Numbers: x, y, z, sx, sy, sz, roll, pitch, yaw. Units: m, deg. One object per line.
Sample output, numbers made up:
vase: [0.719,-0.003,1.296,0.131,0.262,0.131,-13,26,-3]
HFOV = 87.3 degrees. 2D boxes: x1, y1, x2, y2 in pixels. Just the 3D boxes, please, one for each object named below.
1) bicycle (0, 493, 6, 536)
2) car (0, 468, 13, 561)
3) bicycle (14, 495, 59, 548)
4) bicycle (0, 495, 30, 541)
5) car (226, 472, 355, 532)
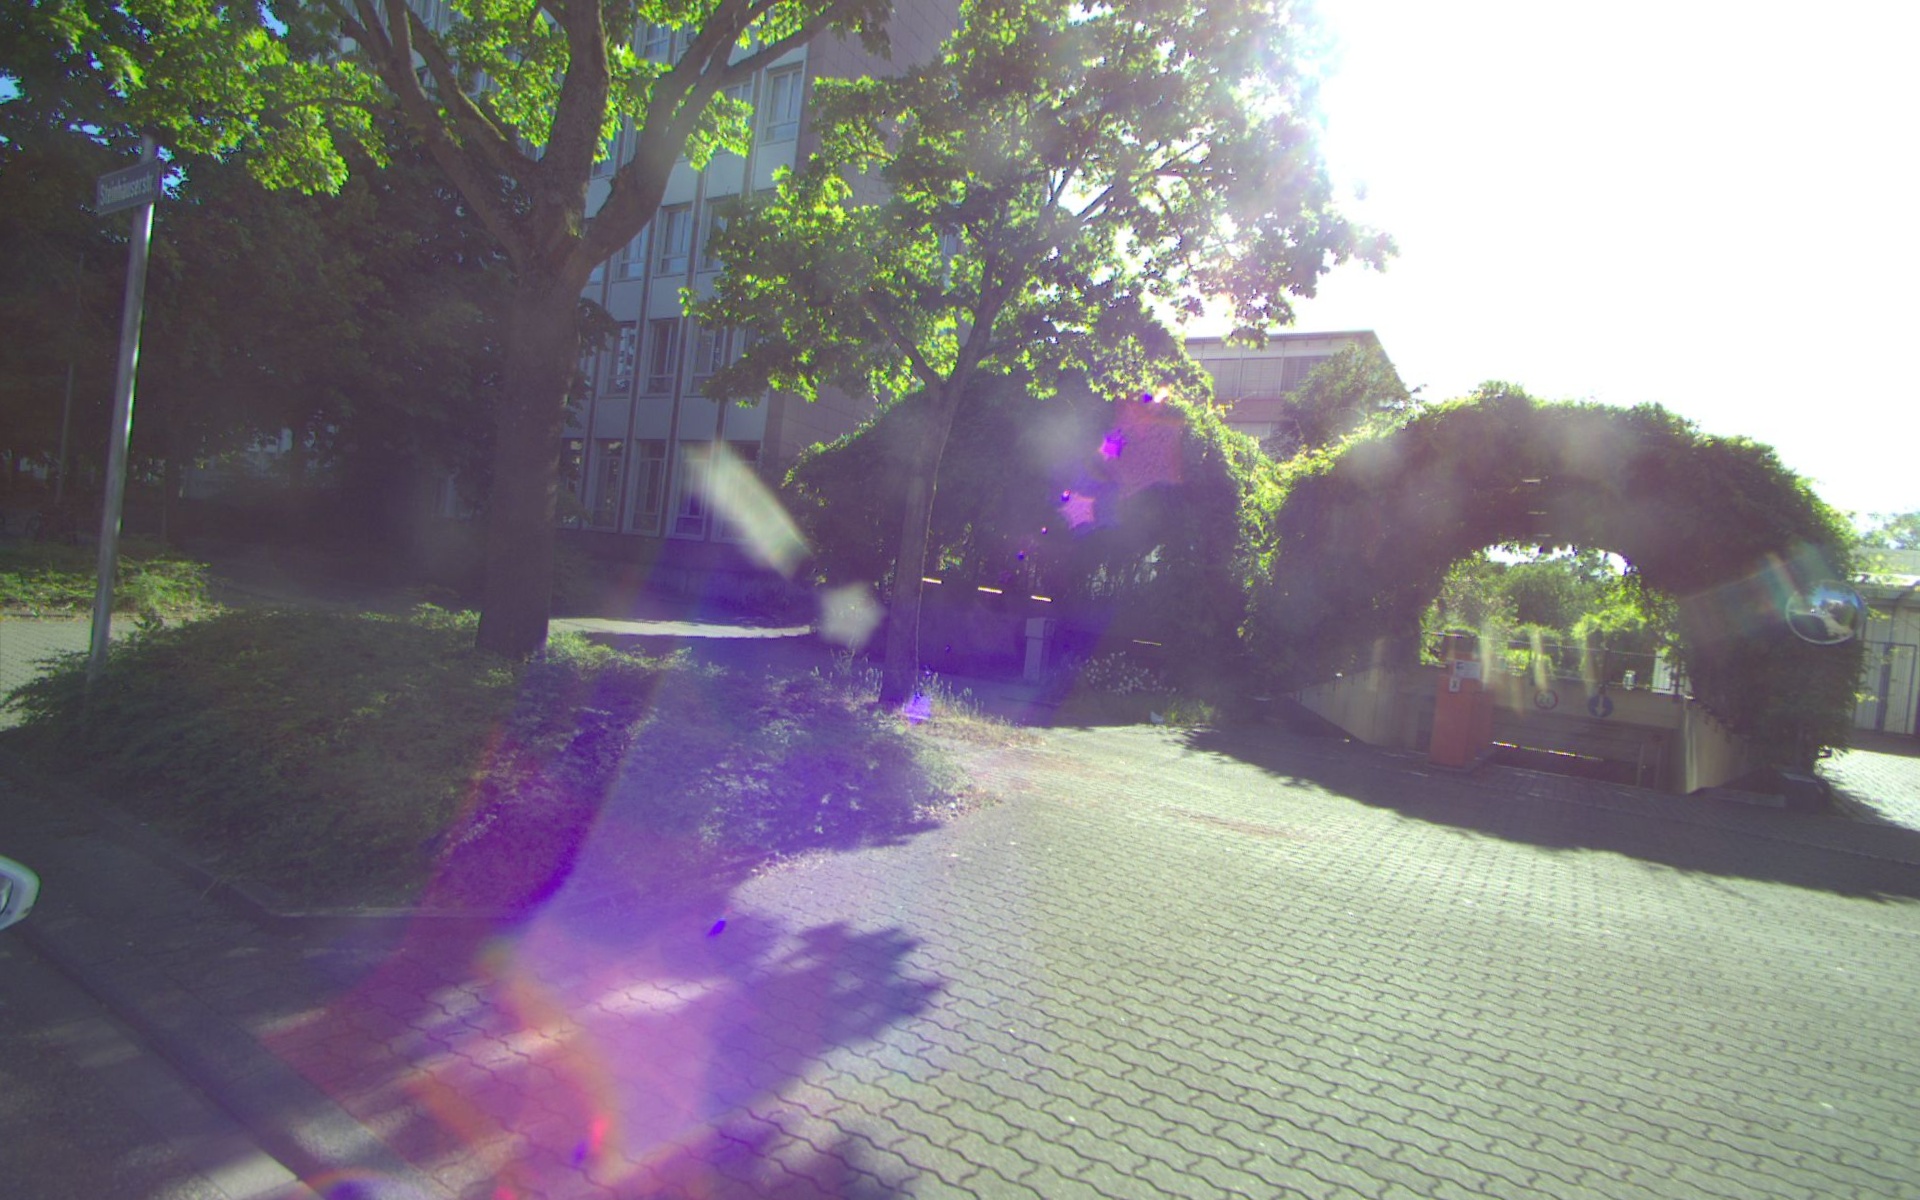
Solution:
bicycle: [-25.695,-2.314,26.253,1.754,1.091,0.380,7,1,21]
car: [-19.020,-1.731,16.790,1.826,1.654,4.273,7,0,29]
bicycle: [-20.489,-1.744,22.309,1.856,1.060,0.378,7,2,37]
bicycle: [-24.709,-2.152,25.429,1.757,1.091,0.379,7,1,-10]
car: [-29.075,-4.242,43.829,1.965,1.803,4.083,6,-2,28]
